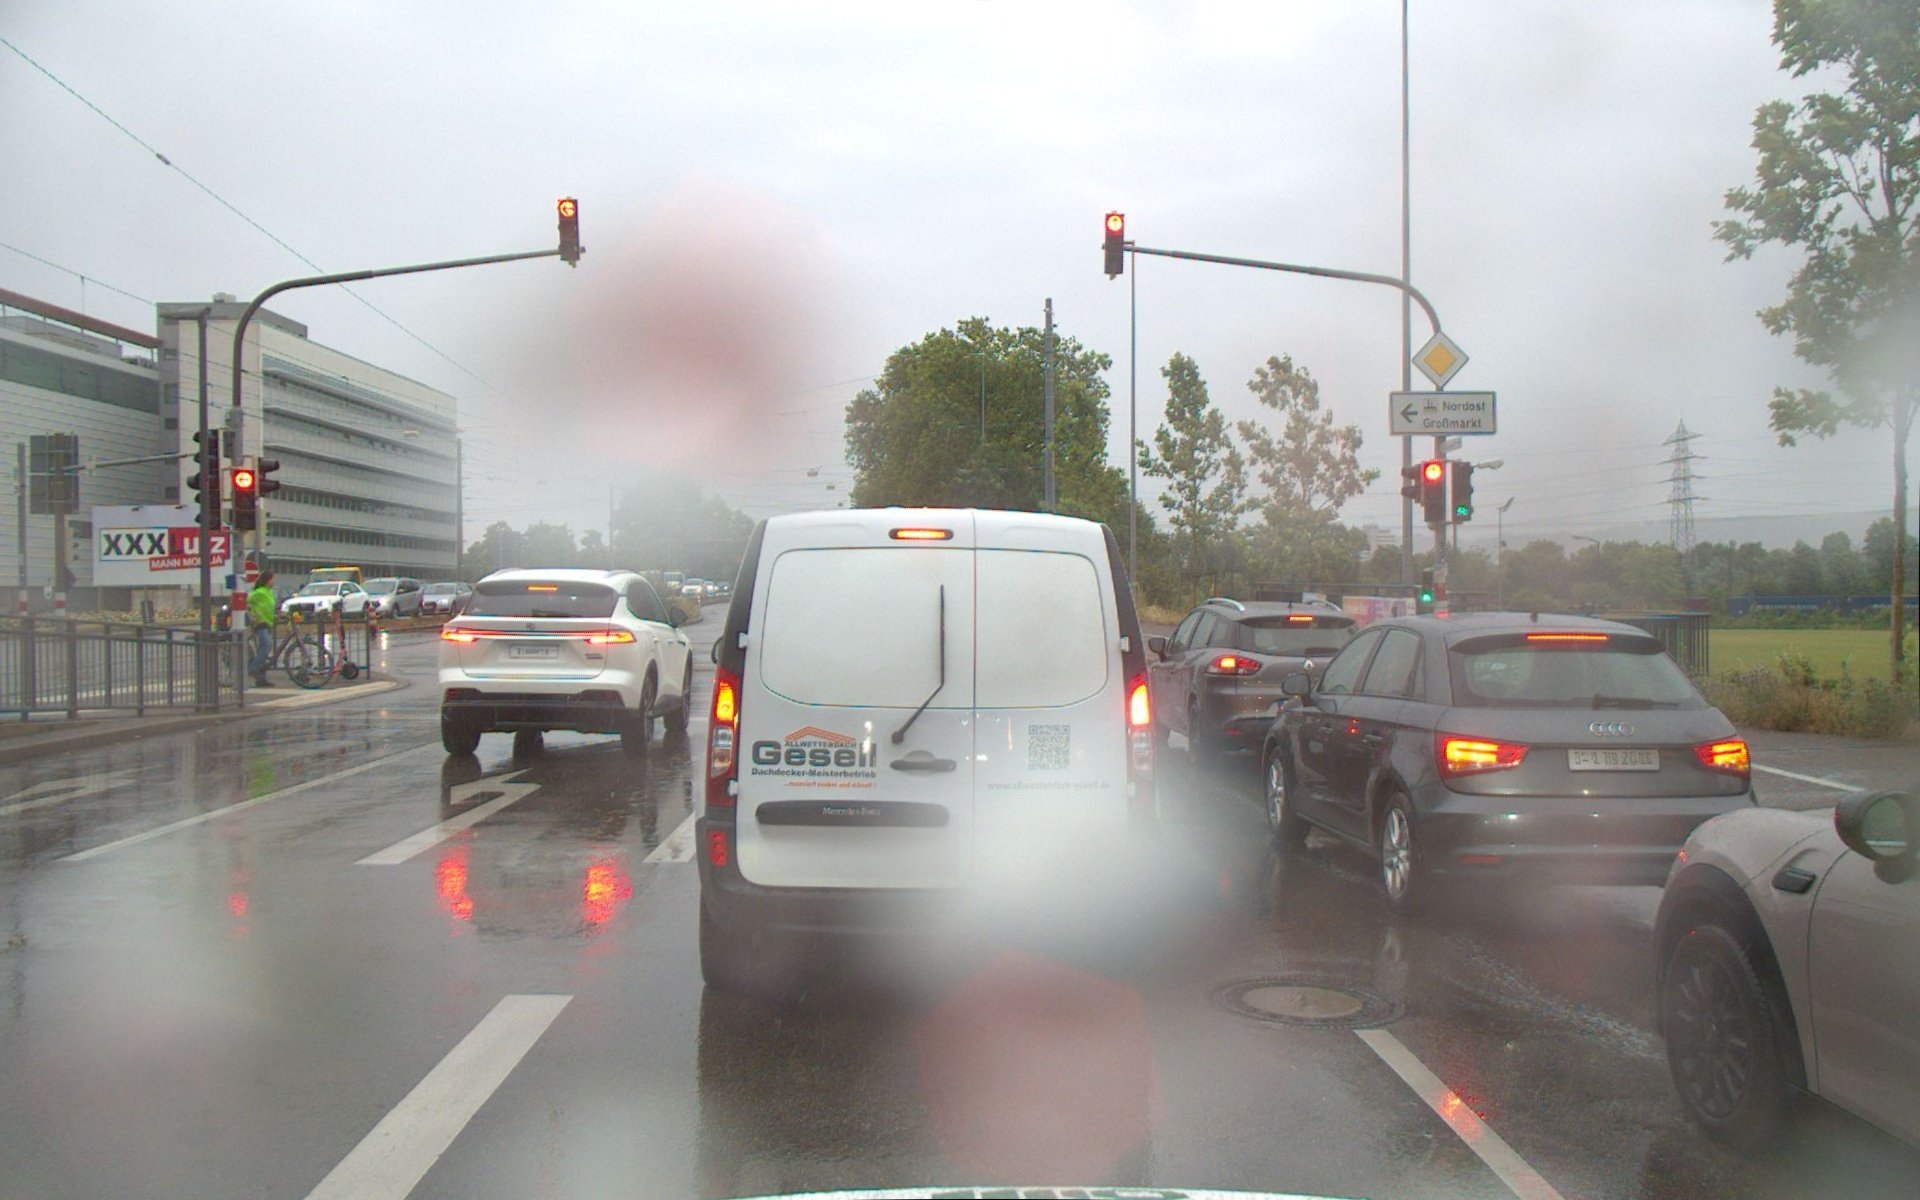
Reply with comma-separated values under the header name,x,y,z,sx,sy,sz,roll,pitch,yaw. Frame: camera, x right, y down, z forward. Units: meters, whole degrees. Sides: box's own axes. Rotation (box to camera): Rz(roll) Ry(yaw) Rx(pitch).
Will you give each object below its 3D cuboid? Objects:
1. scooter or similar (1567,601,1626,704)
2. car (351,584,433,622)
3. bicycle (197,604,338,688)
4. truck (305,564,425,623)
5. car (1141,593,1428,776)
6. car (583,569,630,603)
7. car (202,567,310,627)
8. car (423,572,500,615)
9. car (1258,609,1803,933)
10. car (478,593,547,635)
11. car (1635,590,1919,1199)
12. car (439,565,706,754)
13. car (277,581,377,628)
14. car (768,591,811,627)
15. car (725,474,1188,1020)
name,x,y,z,sx,sy,sz,roll,pitch,yaw
scooter or similar,7.562,0.607,19.674,0.240,1.178,1.186,1,0,1
car,-21.497,0.117,62.776,1.554,1.359,3.832,1,-1,4
bicycle,-9.712,0.640,23.220,1.716,1.052,0.414,4,-1,-3
truck,-25.077,-0.231,70.055,2.303,2.319,7.632,1,0,0
car,2.892,0.690,15.562,1.822,1.453,3.806,1,1,-2
car,-22.131,-0.843,103.673,1.952,2.049,4.000,1,0,1
car,-25.297,-0.099,59.598,1.952,2.049,4.002,1,0,3
car,-21.058,-0.251,70.050,1.853,1.729,4.001,1,0,3
car,2.799,0.749,8.957,1.596,1.368,3.622,1,0,-2
car,-20.807,0.651,77.105,1.889,1.859,4.002,1,0,4
car,2.950,0.760,3.236,1.679,1.534,3.622,1,0,-2
car,-3.598,0.478,16.102,1.694,1.562,4.296,1,1,-2
car,-21.674,0.158,56.795,1.662,1.518,3.878,1,0,5
car,-7.597,0.395,73.551,1.585,1.530,3.706,1,0,-10
car,-0.035,0.496,7.537,1.534,1.819,3.999,0,0,-1
